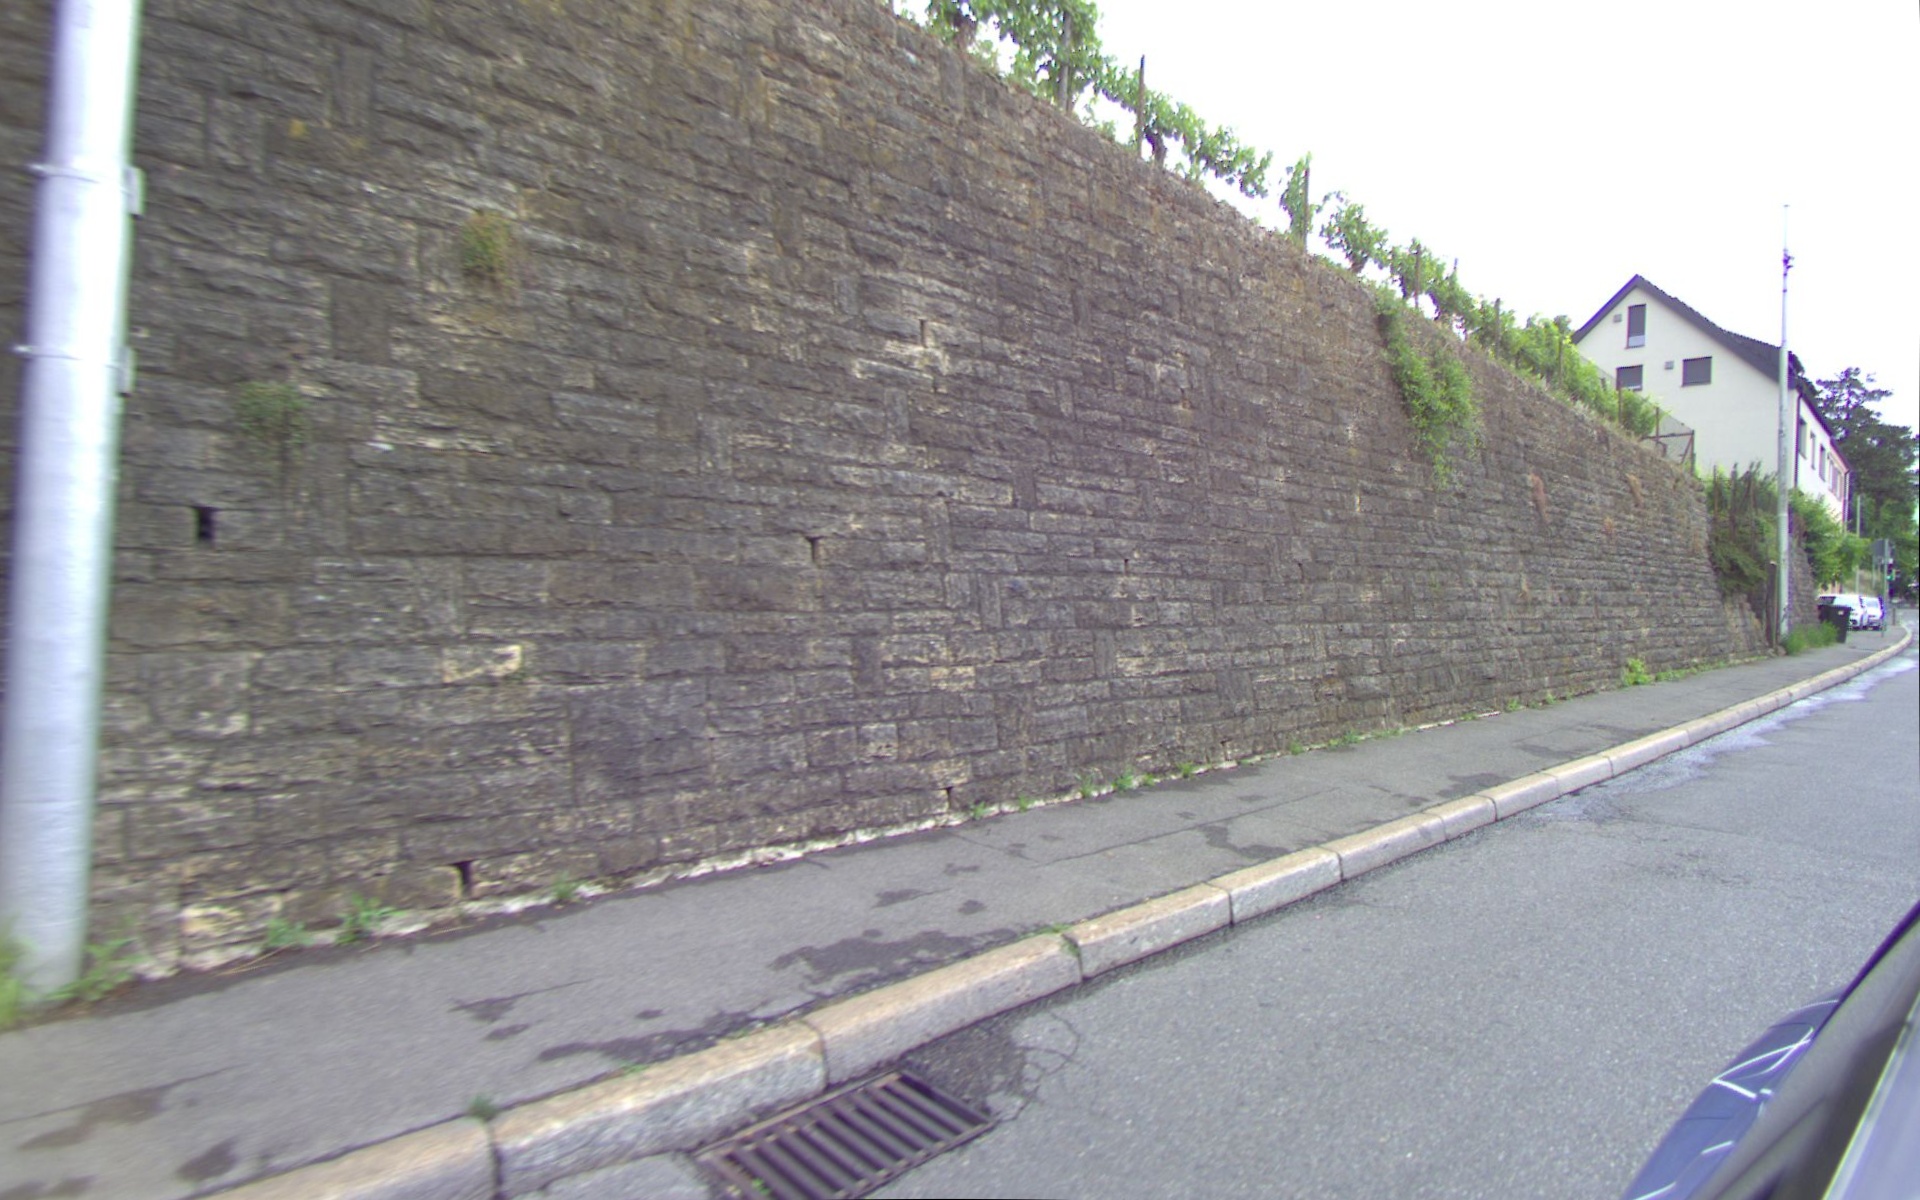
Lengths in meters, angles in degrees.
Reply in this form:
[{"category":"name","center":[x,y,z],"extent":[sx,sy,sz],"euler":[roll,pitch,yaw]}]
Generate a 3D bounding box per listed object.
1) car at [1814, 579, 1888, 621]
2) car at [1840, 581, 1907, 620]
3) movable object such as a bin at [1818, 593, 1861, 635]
[{"category":"car","center":[35.787,-0.022,40.611],"extent":[3.986,1.594,1.797],"euler":[-1,1,-42]},{"category":"car","center":[39.511,0.004,43.749],"extent":[4.176,1.594,1.730],"euler":[-1,1,-42]},{"category":"movable object such as a bin","center":[24.716,0.394,28.450],"extent":[0.860,1.140,0.810],"euler":[0,1,-43]}]
